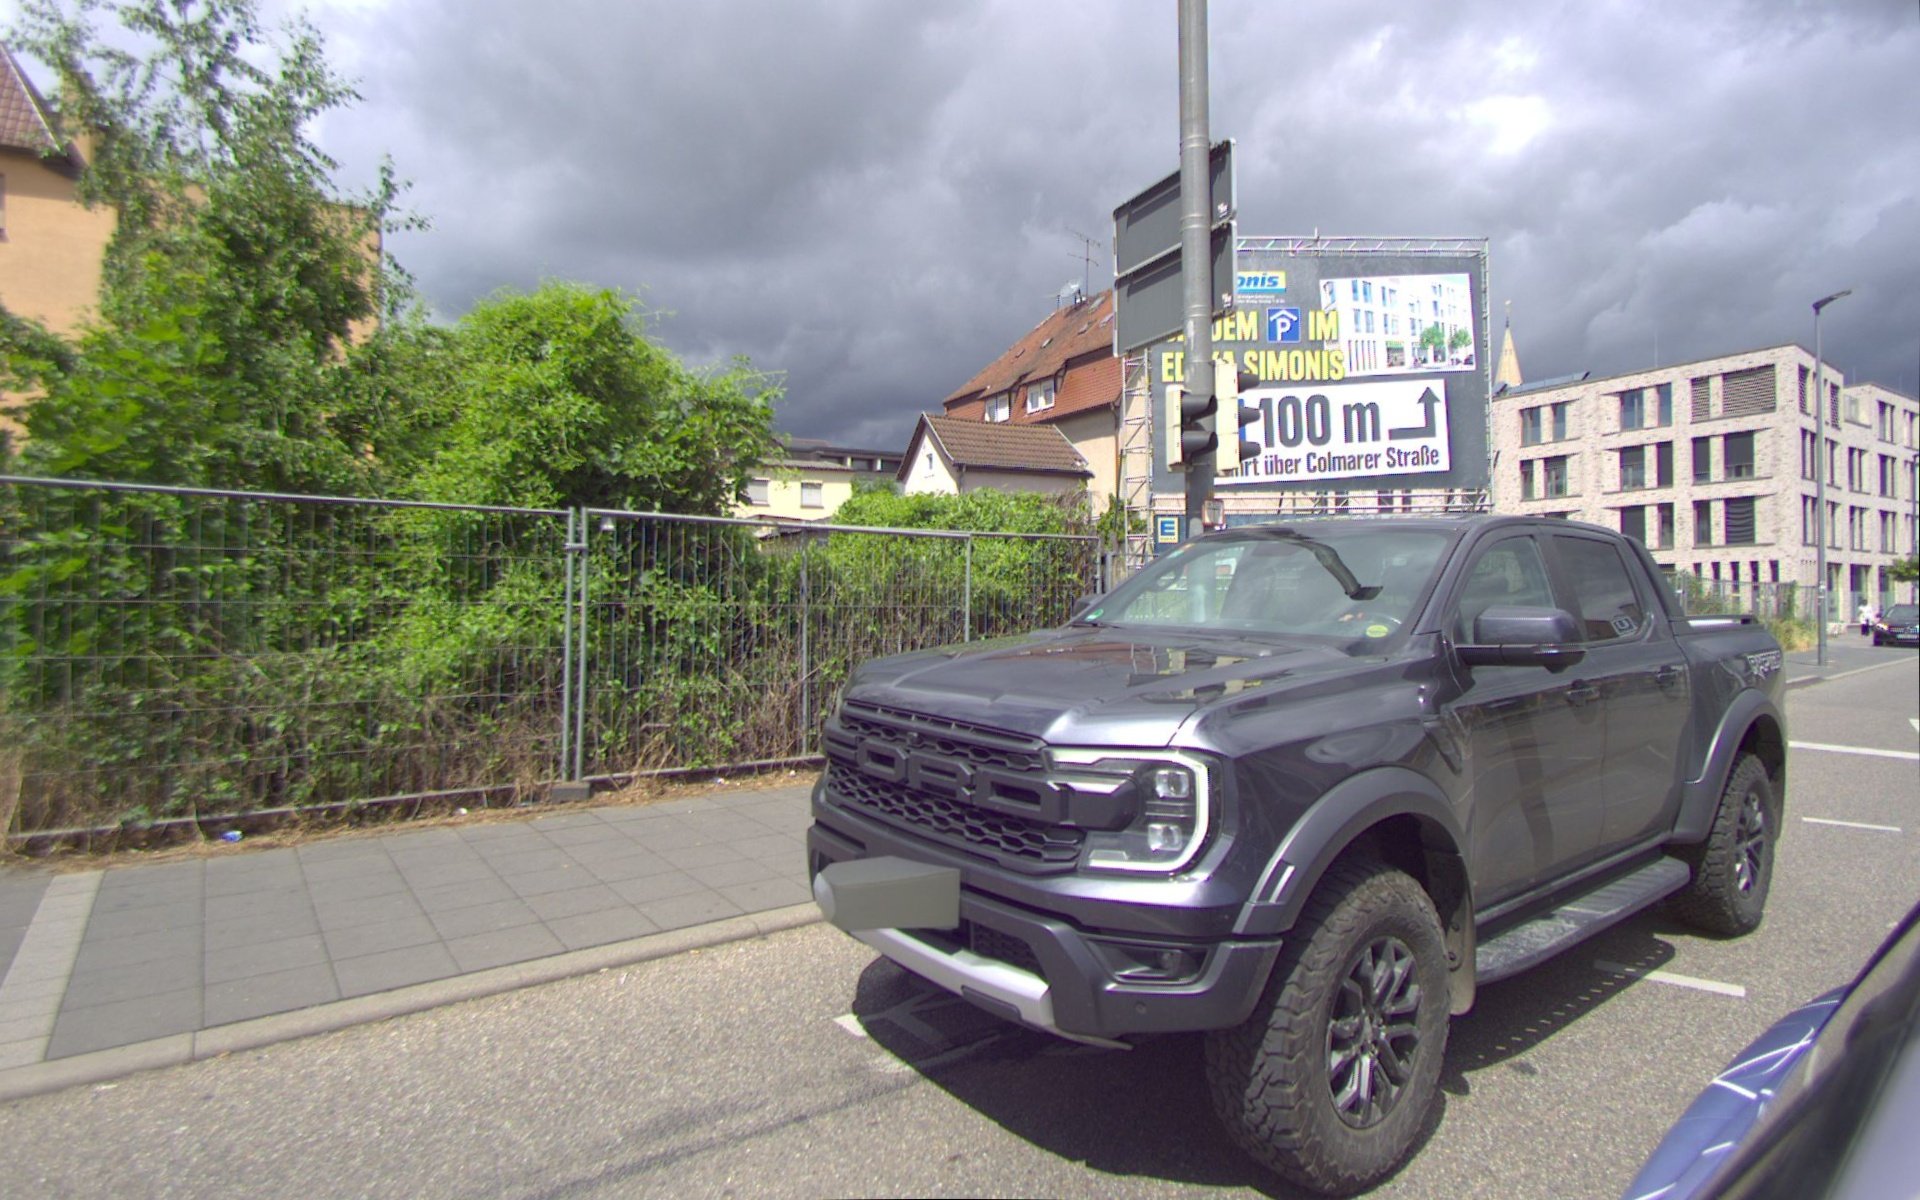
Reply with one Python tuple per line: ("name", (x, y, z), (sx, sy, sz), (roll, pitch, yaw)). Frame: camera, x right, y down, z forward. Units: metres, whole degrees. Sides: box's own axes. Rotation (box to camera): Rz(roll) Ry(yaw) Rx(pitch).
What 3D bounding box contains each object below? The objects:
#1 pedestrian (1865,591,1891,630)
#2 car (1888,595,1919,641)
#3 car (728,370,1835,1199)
("pedestrian", (36.803, 0.412, 40.556), (0.769, 1.531, 0.673), (1, 0, -41))
("car", (32.656, 0.596, 33.960), (3.726, 1.441, 1.678), (-1, 2, -39))
("car", (1.778, 0.438, 4.345), (5.056, 1.910, 2.005), (-1, 2, -38))
